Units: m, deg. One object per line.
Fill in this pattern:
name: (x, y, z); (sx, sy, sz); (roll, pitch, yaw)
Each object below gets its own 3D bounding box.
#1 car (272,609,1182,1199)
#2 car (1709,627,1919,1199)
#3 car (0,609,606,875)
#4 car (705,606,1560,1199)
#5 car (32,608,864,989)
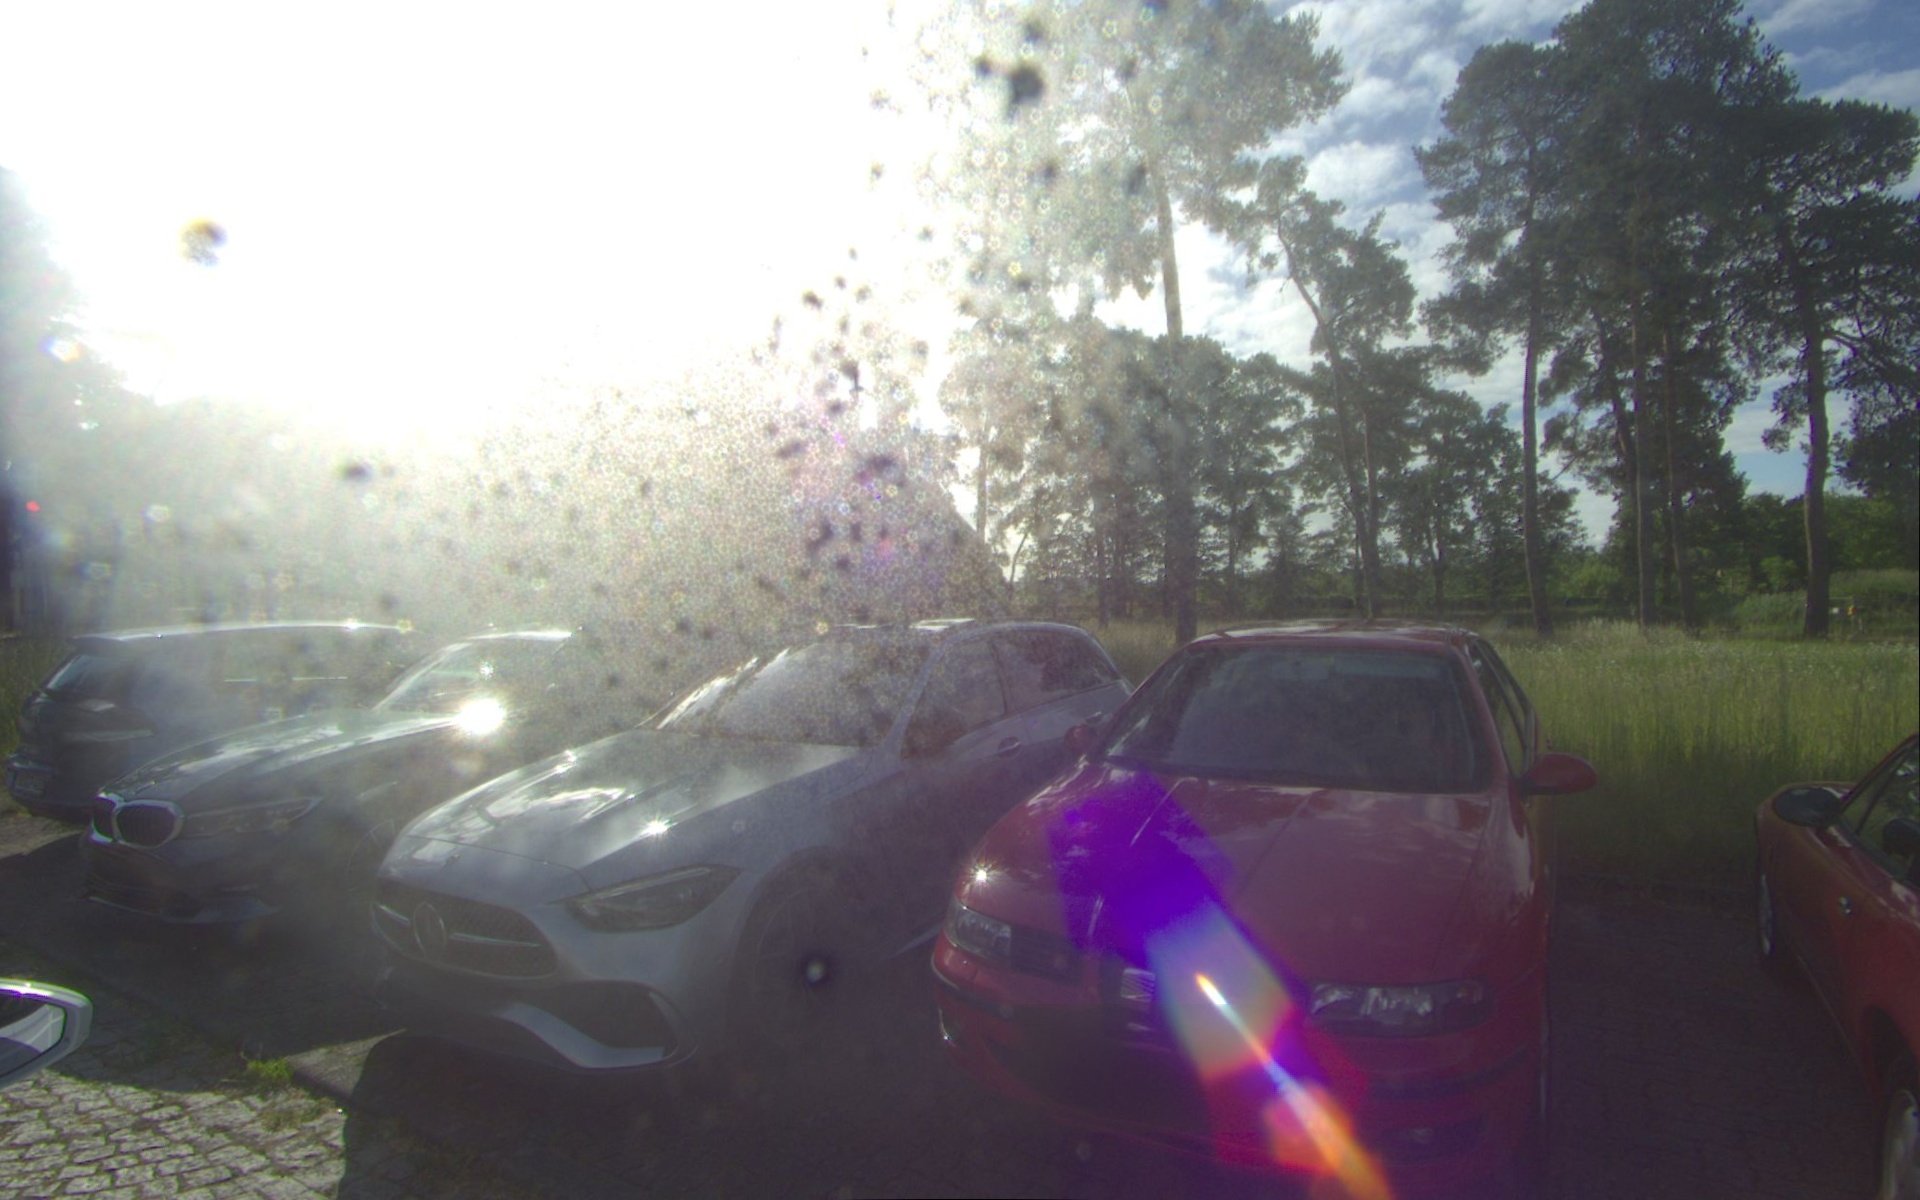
car: (-0.509, 0.814, 4.945); (1.755, 1.434, 4.421); (0, 1, 32)
car: (3.763, 0.792, 3.333); (1.721, 1.240, 3.698); (0, 1, 32)
car: (-4.923, 0.840, 7.850); (1.613, 1.434, 3.873); (0, 1, 32)
car: (1.188, 0.802, 3.633); (1.613, 1.468, 4.118); (0, 1, 32)
car: (-2.652, 0.826, 6.411); (1.613, 1.434, 4.549); (0, 1, 32)
